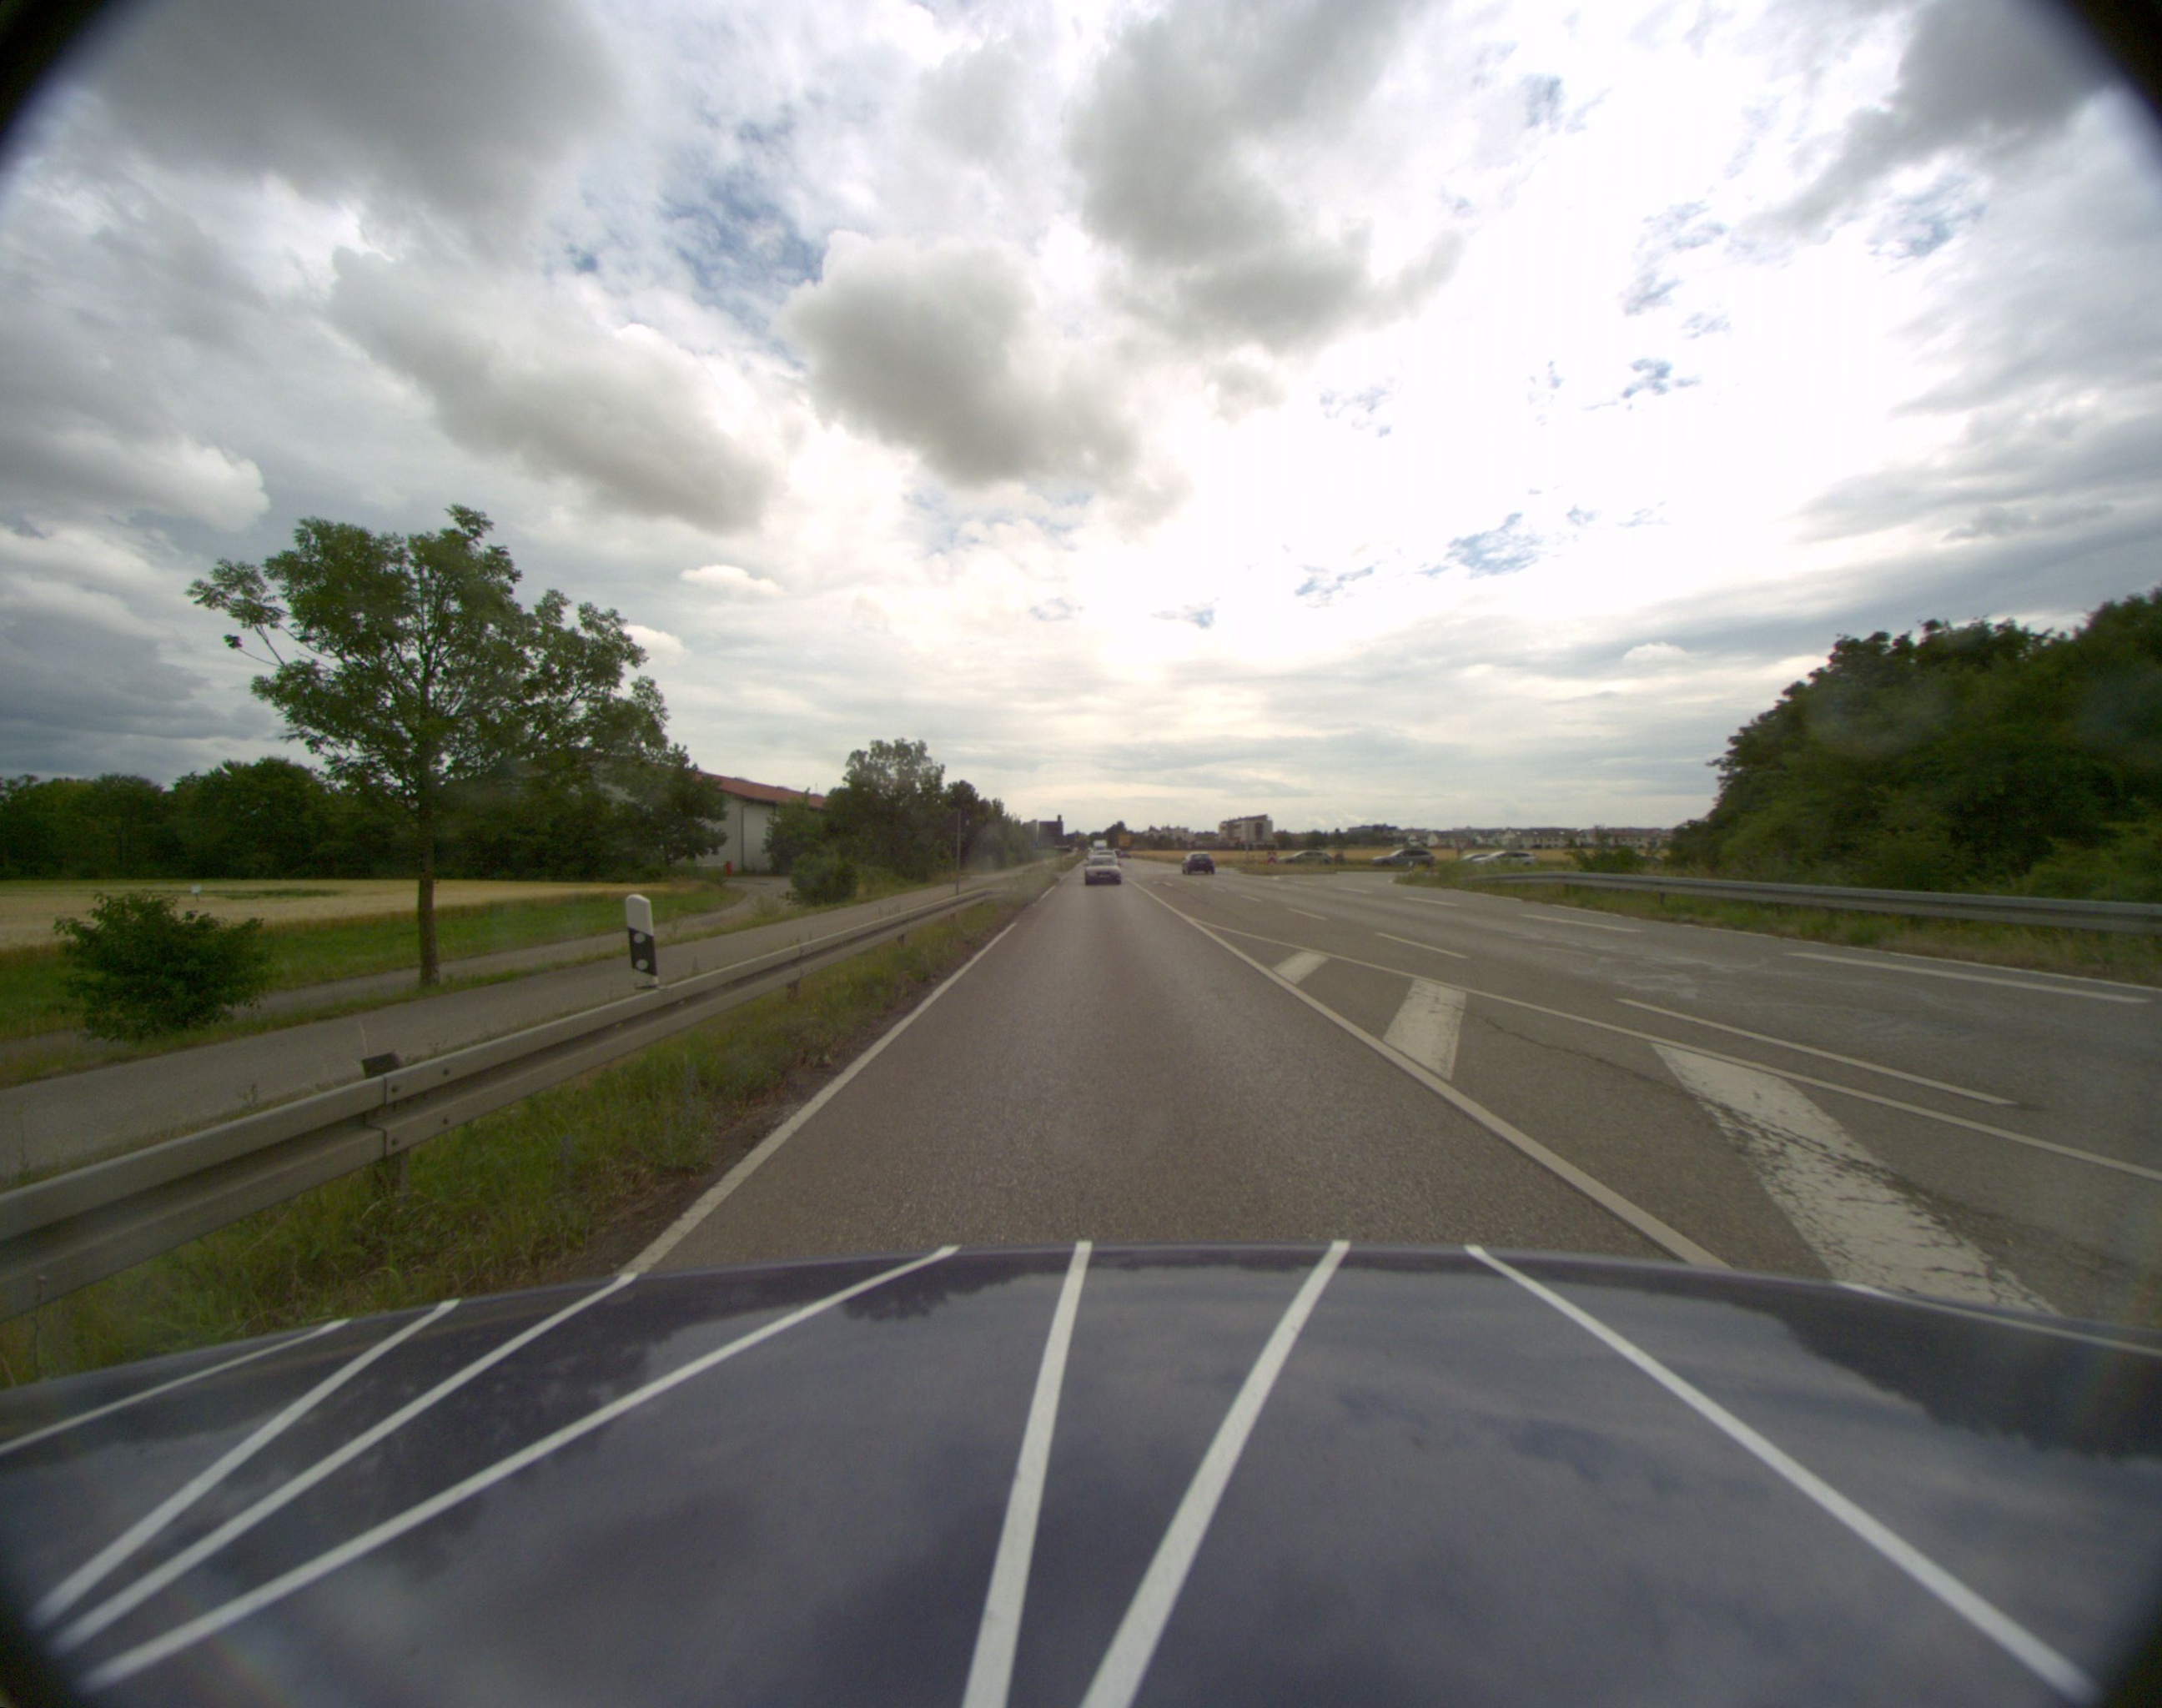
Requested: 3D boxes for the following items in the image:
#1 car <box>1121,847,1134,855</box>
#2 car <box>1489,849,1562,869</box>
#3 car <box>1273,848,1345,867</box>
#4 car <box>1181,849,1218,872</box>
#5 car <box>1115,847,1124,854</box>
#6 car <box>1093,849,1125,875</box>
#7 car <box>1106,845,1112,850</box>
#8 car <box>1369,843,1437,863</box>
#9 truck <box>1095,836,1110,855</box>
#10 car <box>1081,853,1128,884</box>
[{"bbox_3d":[8.640,-0.547,140.883,2.170,1.277,4.237,-2,1,1],"label":"car"},{"bbox_3d":[34.122,0.390,58.432,4.499,1.474,1.912,0,1,7],"label":"car"},{"bbox_3d":[18.195,0.262,60.838,5.295,1.512,1.912,0,1,7],"label":"car"},{"bbox_3d":[7.662,0.423,49.438,1.867,1.368,4.000,-2,0,2],"label":"car"},{"bbox_3d":[8.072,-0.711,160.088,1.746,1.521,4.199,-1,0,1],"label":"car"},{"bbox_3d":[1.867,0.473,49.146,1.909,1.523,4.756,0,1,3],"label":"car"},{"bbox_3d":[8.632,-2.057,231.688,1.683,1.512,4.395,-2,1,1],"label":"car"},{"bbox_3d":[25.322,-0.083,59.929,4.632,1.508,1.912,0,1,7],"label":"car"},{"bbox_3d":[4.150,-1.603,147.259,2.813,3.588,11.218,0,1,2],"label":"truck"},{"bbox_3d":[1.267,0.679,38.252,1.908,1.416,4.467,0,1,8],"label":"car"}]
